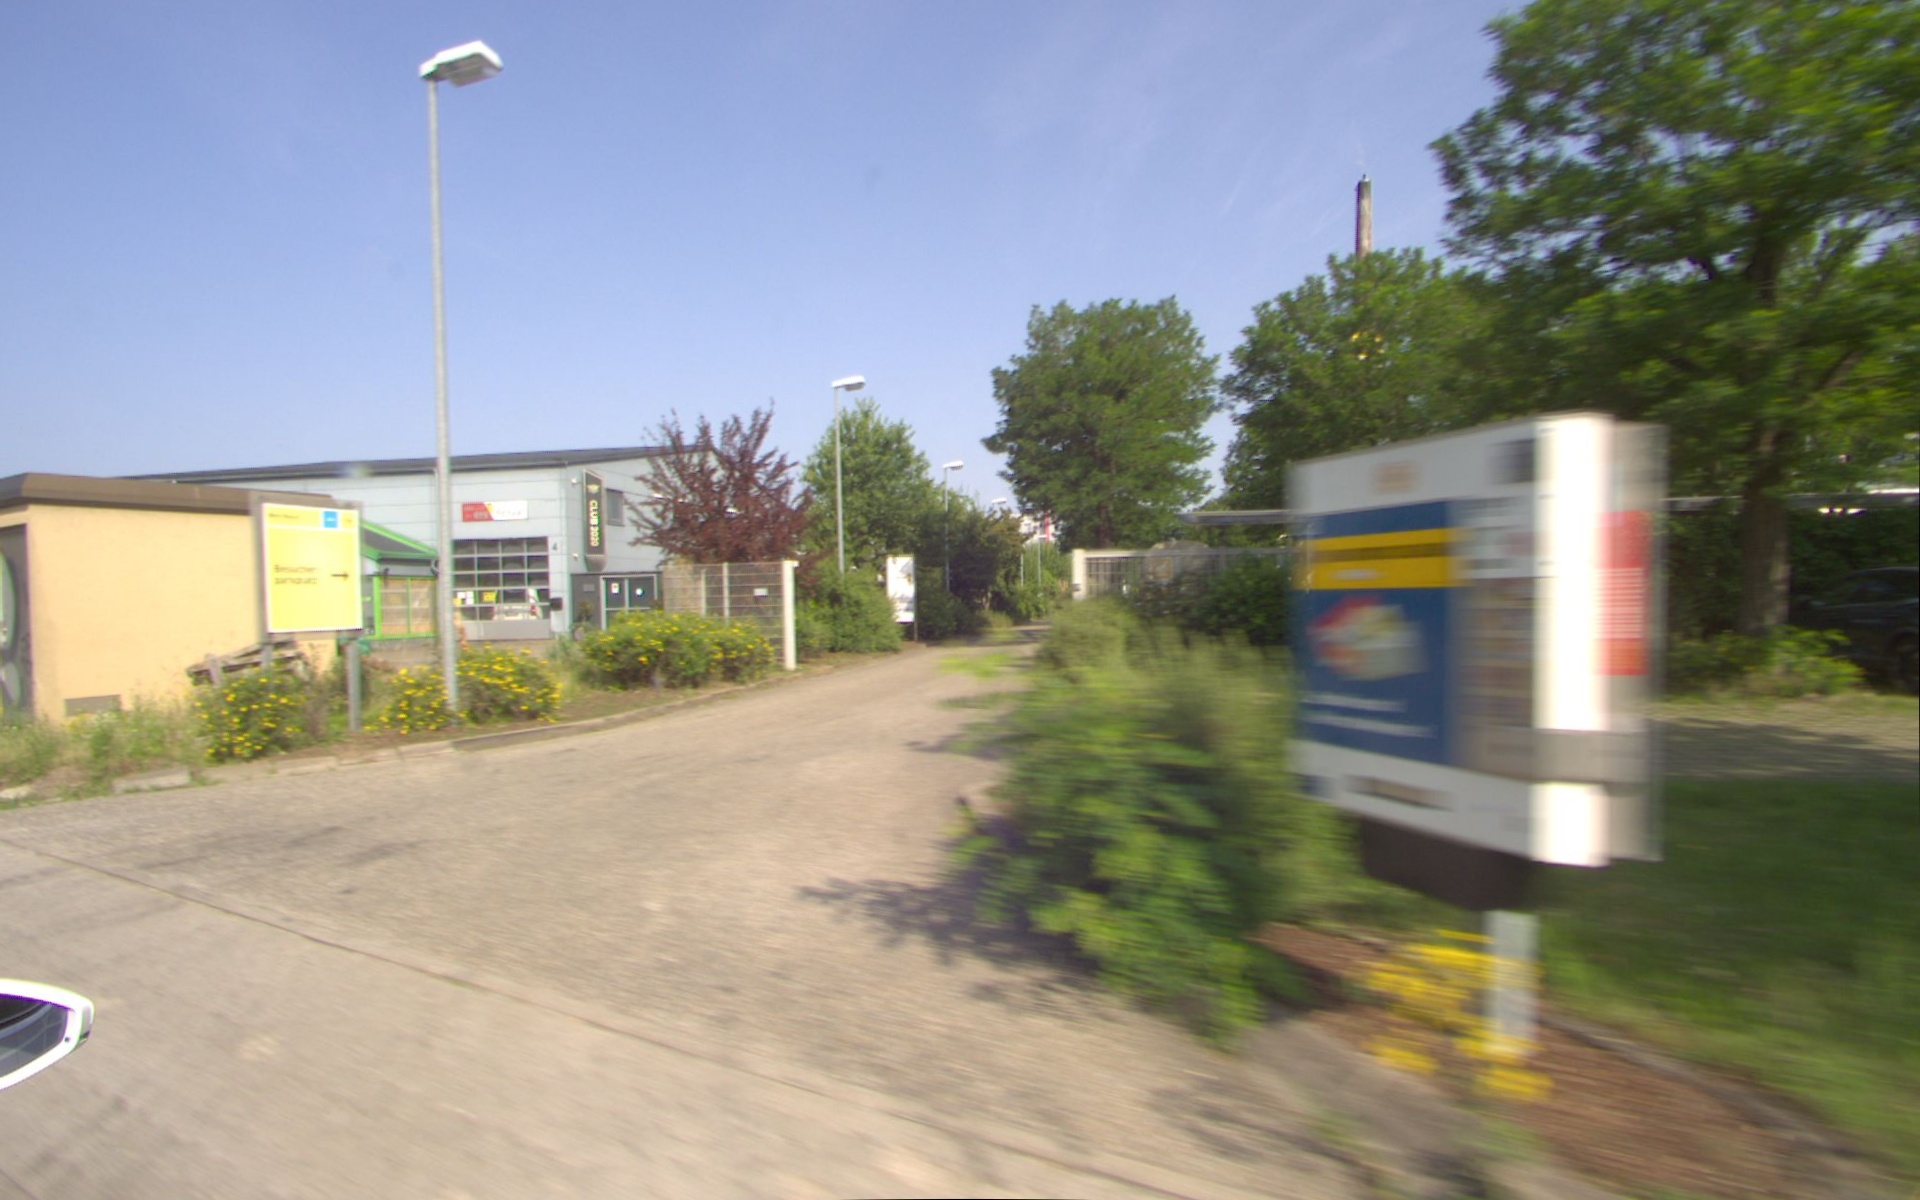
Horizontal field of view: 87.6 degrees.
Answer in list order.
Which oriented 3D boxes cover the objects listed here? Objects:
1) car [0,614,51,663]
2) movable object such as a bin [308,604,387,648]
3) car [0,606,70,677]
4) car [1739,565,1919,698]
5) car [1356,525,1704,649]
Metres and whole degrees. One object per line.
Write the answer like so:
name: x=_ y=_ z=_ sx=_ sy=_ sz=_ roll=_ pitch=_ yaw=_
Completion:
car: x=-31.761 y=1.225 z=31.913 sx=4.375 sy=1.485 sz=1.644 roll=-1 pitch=1 yaw=7
movable object such as a bin: x=-19.618 y=0.816 z=32.094 sx=1.970 sy=1.364 sz=0.999 roll=-1 pitch=1 yaw=9
car: x=-22.495 y=0.928 z=22.261 sx=4.180 sy=1.485 sz=1.692 roll=-1 pitch=1 yaw=7
car: x=11.873 y=0.323 z=12.480 sx=1.766 sy=1.483 sz=4.038 roll=-1 pitch=1 yaw=11
car: x=13.183 y=-0.271 z=23.680 sx=6.762 sy=2.644 sz=2.219 roll=-1 pitch=1 yaw=11
